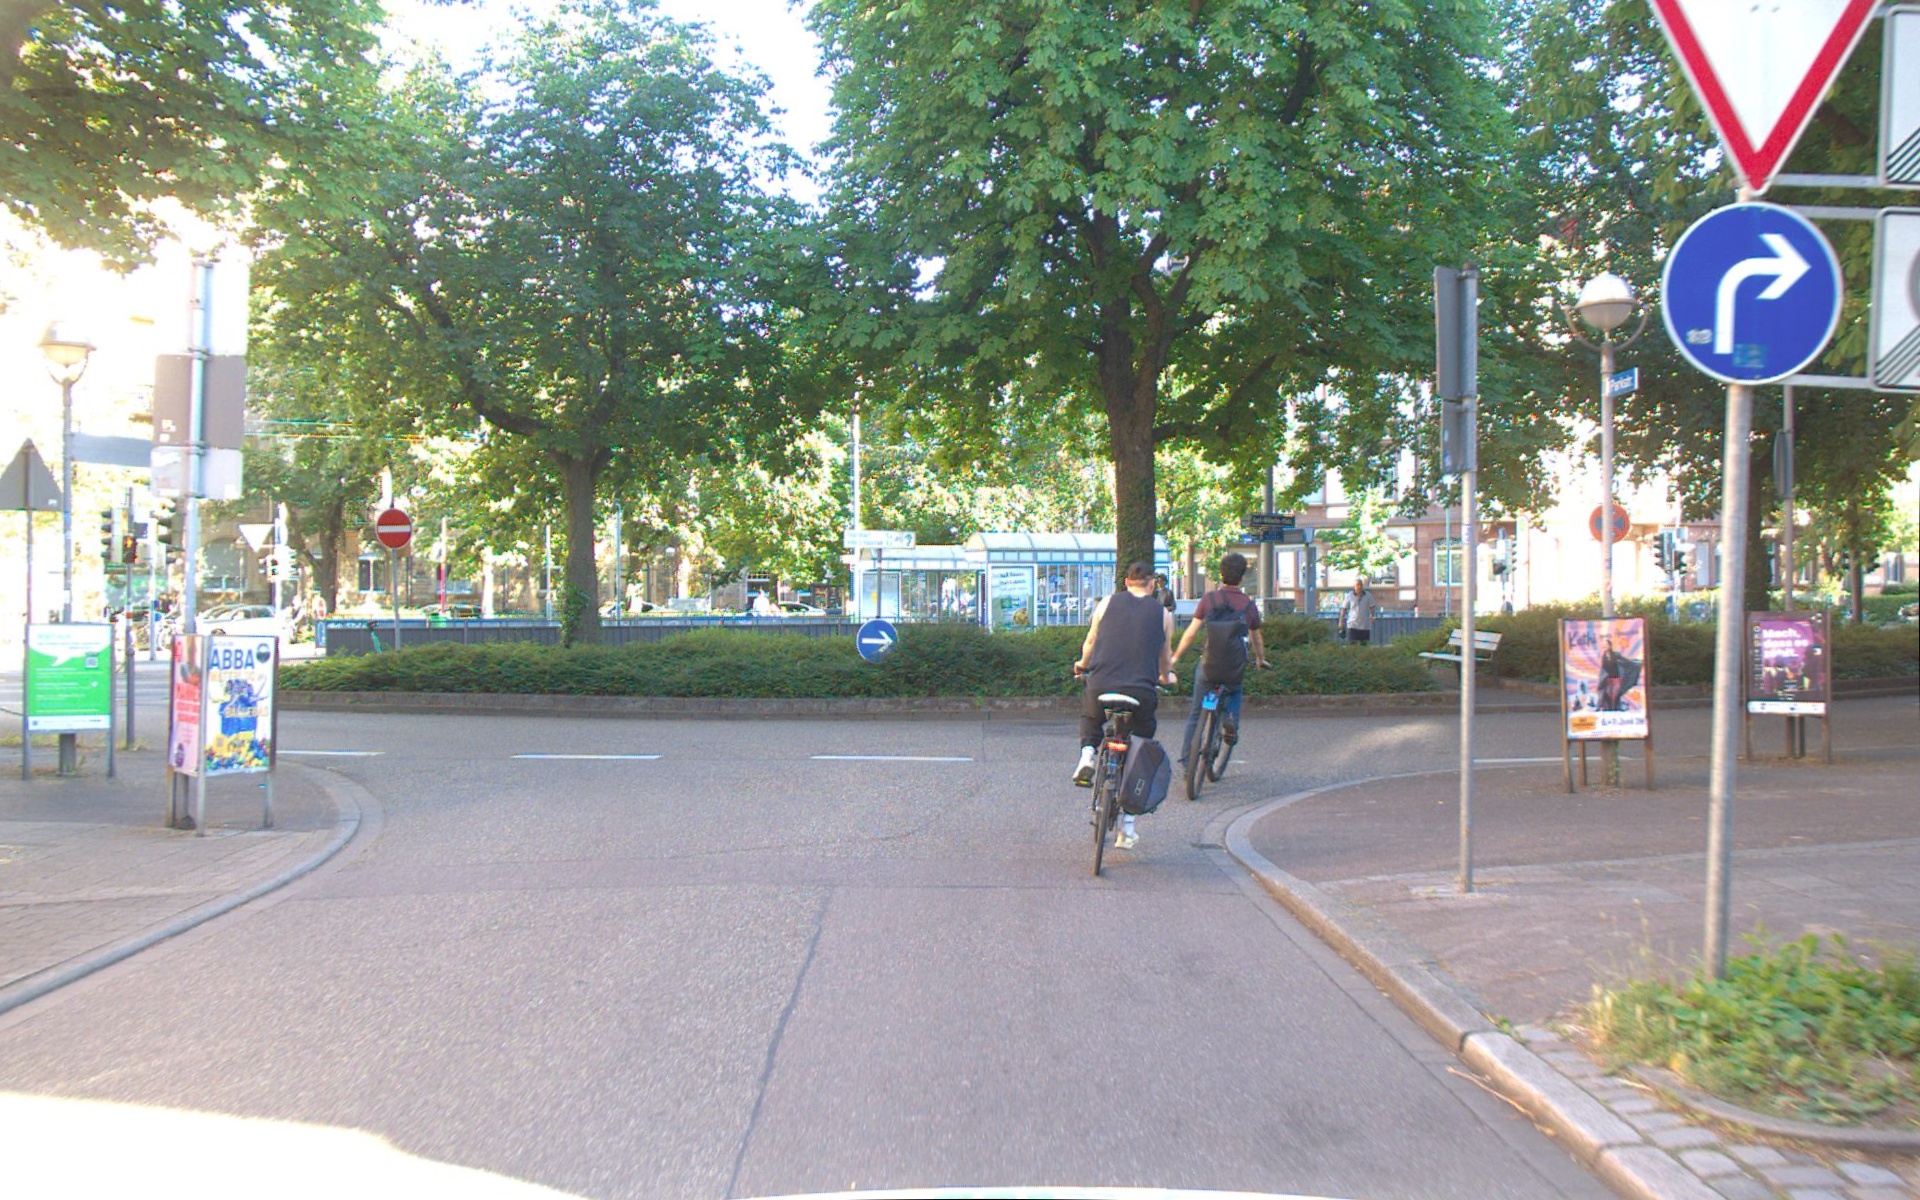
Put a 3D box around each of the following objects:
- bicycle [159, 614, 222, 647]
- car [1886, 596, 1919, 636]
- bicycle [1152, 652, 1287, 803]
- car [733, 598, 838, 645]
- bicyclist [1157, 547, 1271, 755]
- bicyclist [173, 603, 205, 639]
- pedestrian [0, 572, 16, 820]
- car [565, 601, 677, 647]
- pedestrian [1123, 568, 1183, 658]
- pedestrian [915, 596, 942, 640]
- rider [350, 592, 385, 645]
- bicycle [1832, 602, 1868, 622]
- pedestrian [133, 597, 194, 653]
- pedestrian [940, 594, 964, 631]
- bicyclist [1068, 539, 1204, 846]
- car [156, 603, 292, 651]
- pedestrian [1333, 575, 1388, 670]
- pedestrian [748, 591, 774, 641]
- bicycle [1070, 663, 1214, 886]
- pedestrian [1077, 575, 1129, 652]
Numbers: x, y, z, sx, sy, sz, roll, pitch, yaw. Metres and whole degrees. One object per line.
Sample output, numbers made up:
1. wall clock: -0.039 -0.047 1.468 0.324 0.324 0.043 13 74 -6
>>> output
1. bicycle: -23.556 0.933 50.661 0.640 0.962 1.740 0 0 26
2. car: 40.390 0.602 67.786 4.297 1.522 1.988 -2 1 -21
3. bicycle: 2.078 0.953 13.041 0.660 1.072 2.061 -1 -1 20
4. car: -7.271 0.872 69.035 3.939 1.903 1.983 -1 0 -27
5. bicyclist: 1.982 0.387 12.830 0.657 1.541 1.069 -1 -1 20
6. bicyclist: -23.592 0.636 50.601 0.598 1.072 0.676 -1 0 26
7. pedestrian: -6.618 0.636 10.823 0.590 1.633 0.850 -1 0 -18
8. car: -13.269 0.907 64.777 3.920 1.709 1.922 -1 0 -45
9. pedestrian: 3.747 0.255 32.074 0.880 1.713 0.817 -1 0 33
10. pedestrian: -1.144 0.654 59.978 0.795 1.570 0.818 2 0 -12
11. rider: -19.446 0.596 54.312 0.801 1.711 0.671 2 0 9
12. bicycle: 39.372 0.548 73.166 1.414 0.877 0.450 0 0 -6
13. pedestrian: -28.217 0.862 58.592 1.231 1.945 1.493 -1 0 26
14. pedestrian: -0.359 0.549 73.298 0.980 1.659 1.064 -1 0 -2
15. bicyclist: 1.017 0.519 9.722 0.736 1.711 0.913 -1 0 3
16. car: -23.769 0.856 53.541 1.857 1.464 3.704 0 0 25
17. pedestrian: 7.344 0.411 30.374 0.896 1.713 0.781 -1 0 9
18. pedestrian: -6.908 0.558 57.316 0.692 1.724 0.666 2 0 -23
19. bicycle: 1.026 0.959 9.753 0.722 1.029 2.062 2 1 4
20. pedestrian: 3.622 0.337 41.964 1.003 1.930 0.906 0 0 -23
